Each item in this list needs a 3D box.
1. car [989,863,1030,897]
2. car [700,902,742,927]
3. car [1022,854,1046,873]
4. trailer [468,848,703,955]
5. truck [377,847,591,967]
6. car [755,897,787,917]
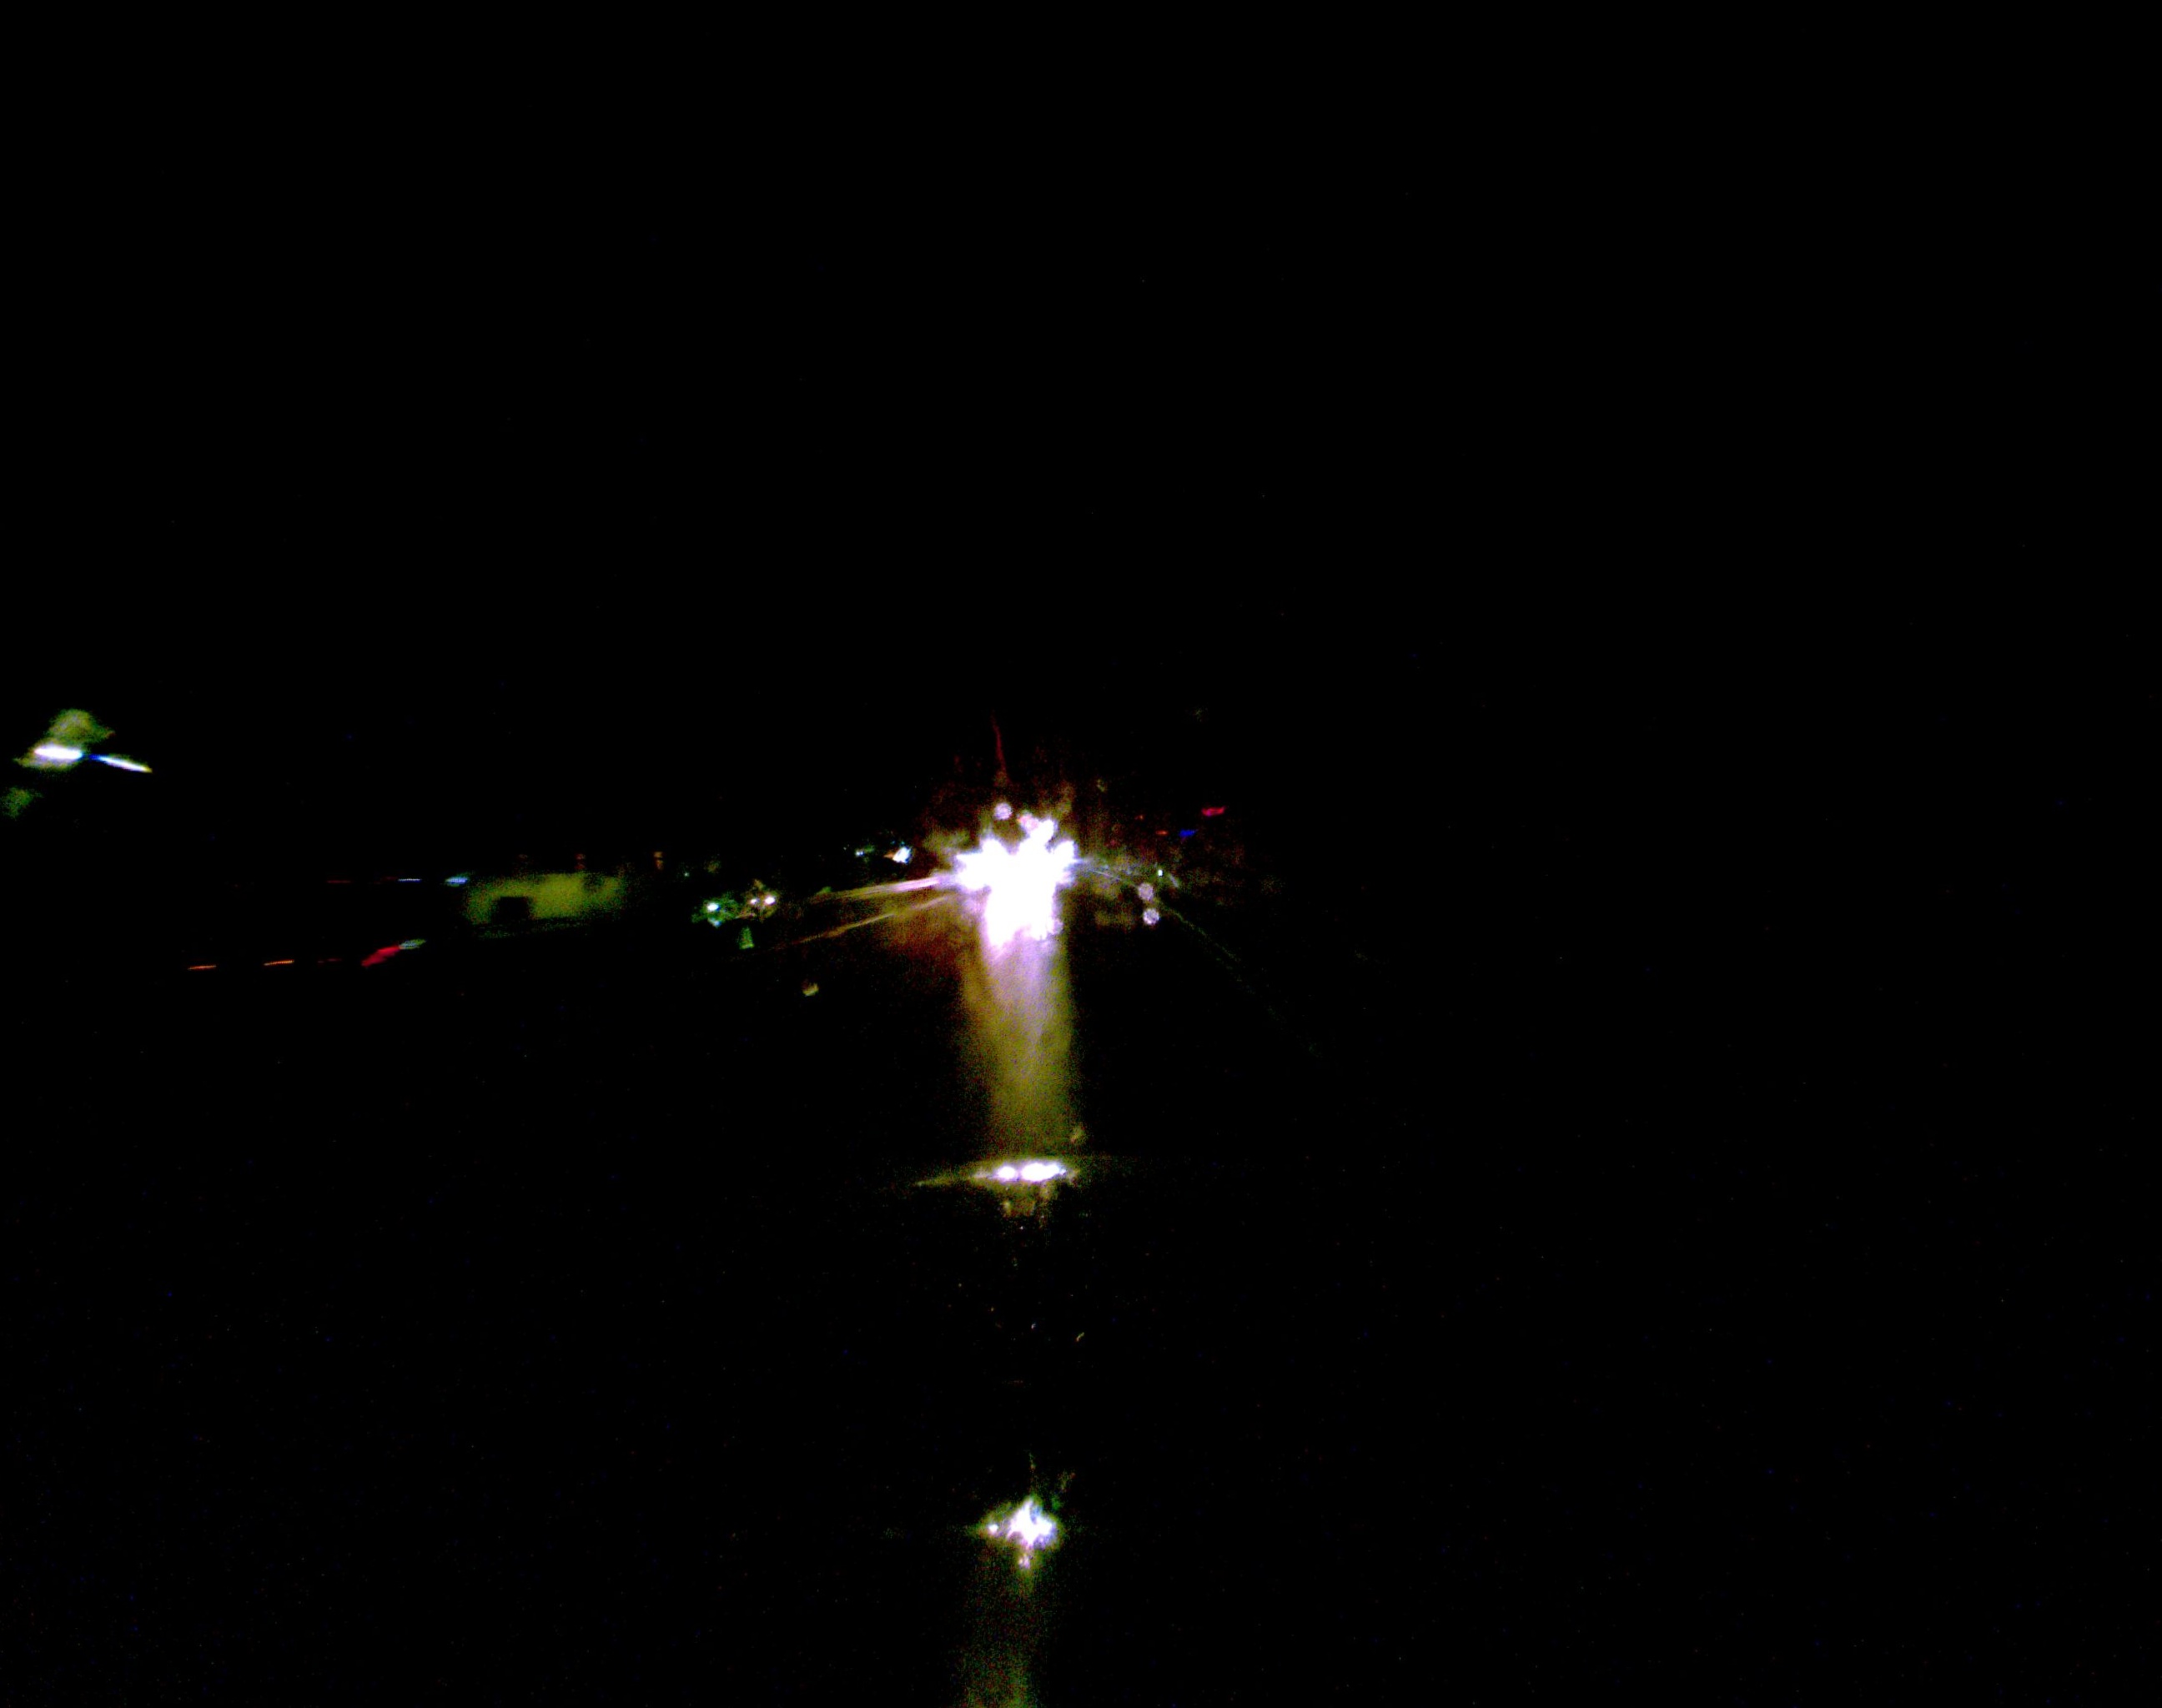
[{"bbox_3d":[-3.418,1.233,39.614,1.631,1.519,3.769,-2,0,0],"label":"car"},{"bbox_3d":[-28.164,4.719,63.794,1.807,1.676,4.282,-1,0,-7],"label":"car"},{"bbox_3d":[-3.845,0.793,67.434,1.780,1.479,3.678,-1,0,-1],"label":"car"},{"bbox_3d":[-25.128,2.181,42.548,3.305,4.796,11.594,-1,0,12],"label":"trailer"},{"bbox_3d":[-26.433,2.161,36.609,3.305,4.796,7.344,-1,0,12],"label":"truck"},{"bbox_3d":[-28.178,4.788,74.156,1.807,1.570,4.281,-1,0,-7],"label":"car"}]
